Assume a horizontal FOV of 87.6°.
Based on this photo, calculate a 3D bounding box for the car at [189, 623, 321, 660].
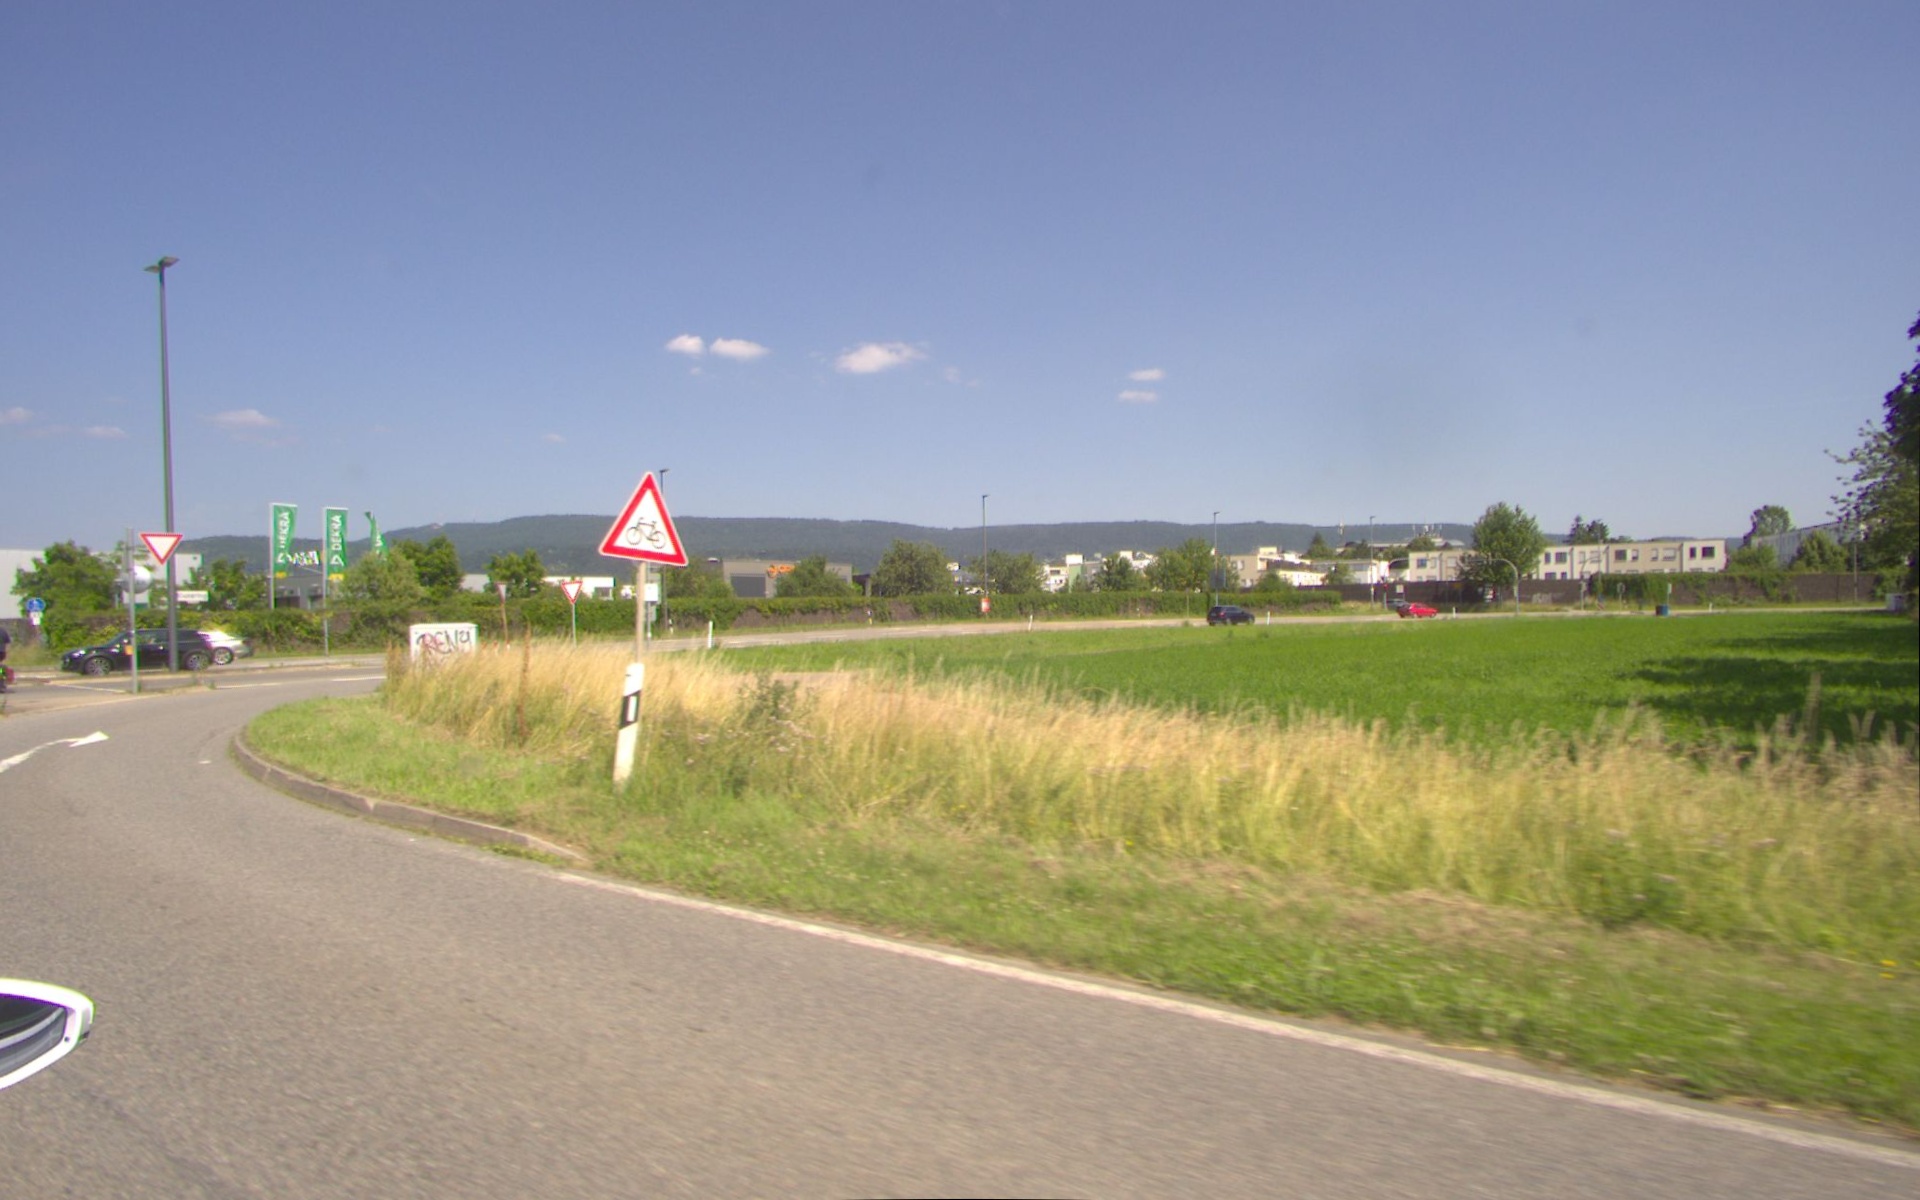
[{"bbox_3d":[-28.921,1.668,41.160,4.325,1.344,1.793,-1,0,-38],"label":"car"}]

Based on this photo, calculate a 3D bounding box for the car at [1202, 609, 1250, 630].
[{"bbox_3d":[21.625,1.577,81.375,1.978,1.638,4.301,-1,0,43],"label":"car"}]

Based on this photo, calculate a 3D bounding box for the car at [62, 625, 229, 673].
[{"bbox_3d":[-26.130,1.529,32.201,1.787,1.344,3.963,-1,0,44],"label":"car"}]

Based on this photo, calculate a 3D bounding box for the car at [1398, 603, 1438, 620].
[{"bbox_3d":[45.069,1.112,98.465,3.945,1.567,1.764,-1,0,-33],"label":"car"}]

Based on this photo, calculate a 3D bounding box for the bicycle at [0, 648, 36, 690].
[{"bbox_3d":[-23.656,1.670,24.574,2.740,0.927,0.760,-1,0,32],"label":"bicycle"}]

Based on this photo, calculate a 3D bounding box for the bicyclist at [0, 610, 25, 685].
[{"bbox_3d":[-23.572,1.161,24.518,0.797,1.795,0.800,0,1,32],"label":"bicyclist"}]

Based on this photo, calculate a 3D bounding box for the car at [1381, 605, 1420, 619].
[{"bbox_3d":[50.300,1.394,114.364,3.932,1.567,1.770,-1,0,-21],"label":"car"}]
